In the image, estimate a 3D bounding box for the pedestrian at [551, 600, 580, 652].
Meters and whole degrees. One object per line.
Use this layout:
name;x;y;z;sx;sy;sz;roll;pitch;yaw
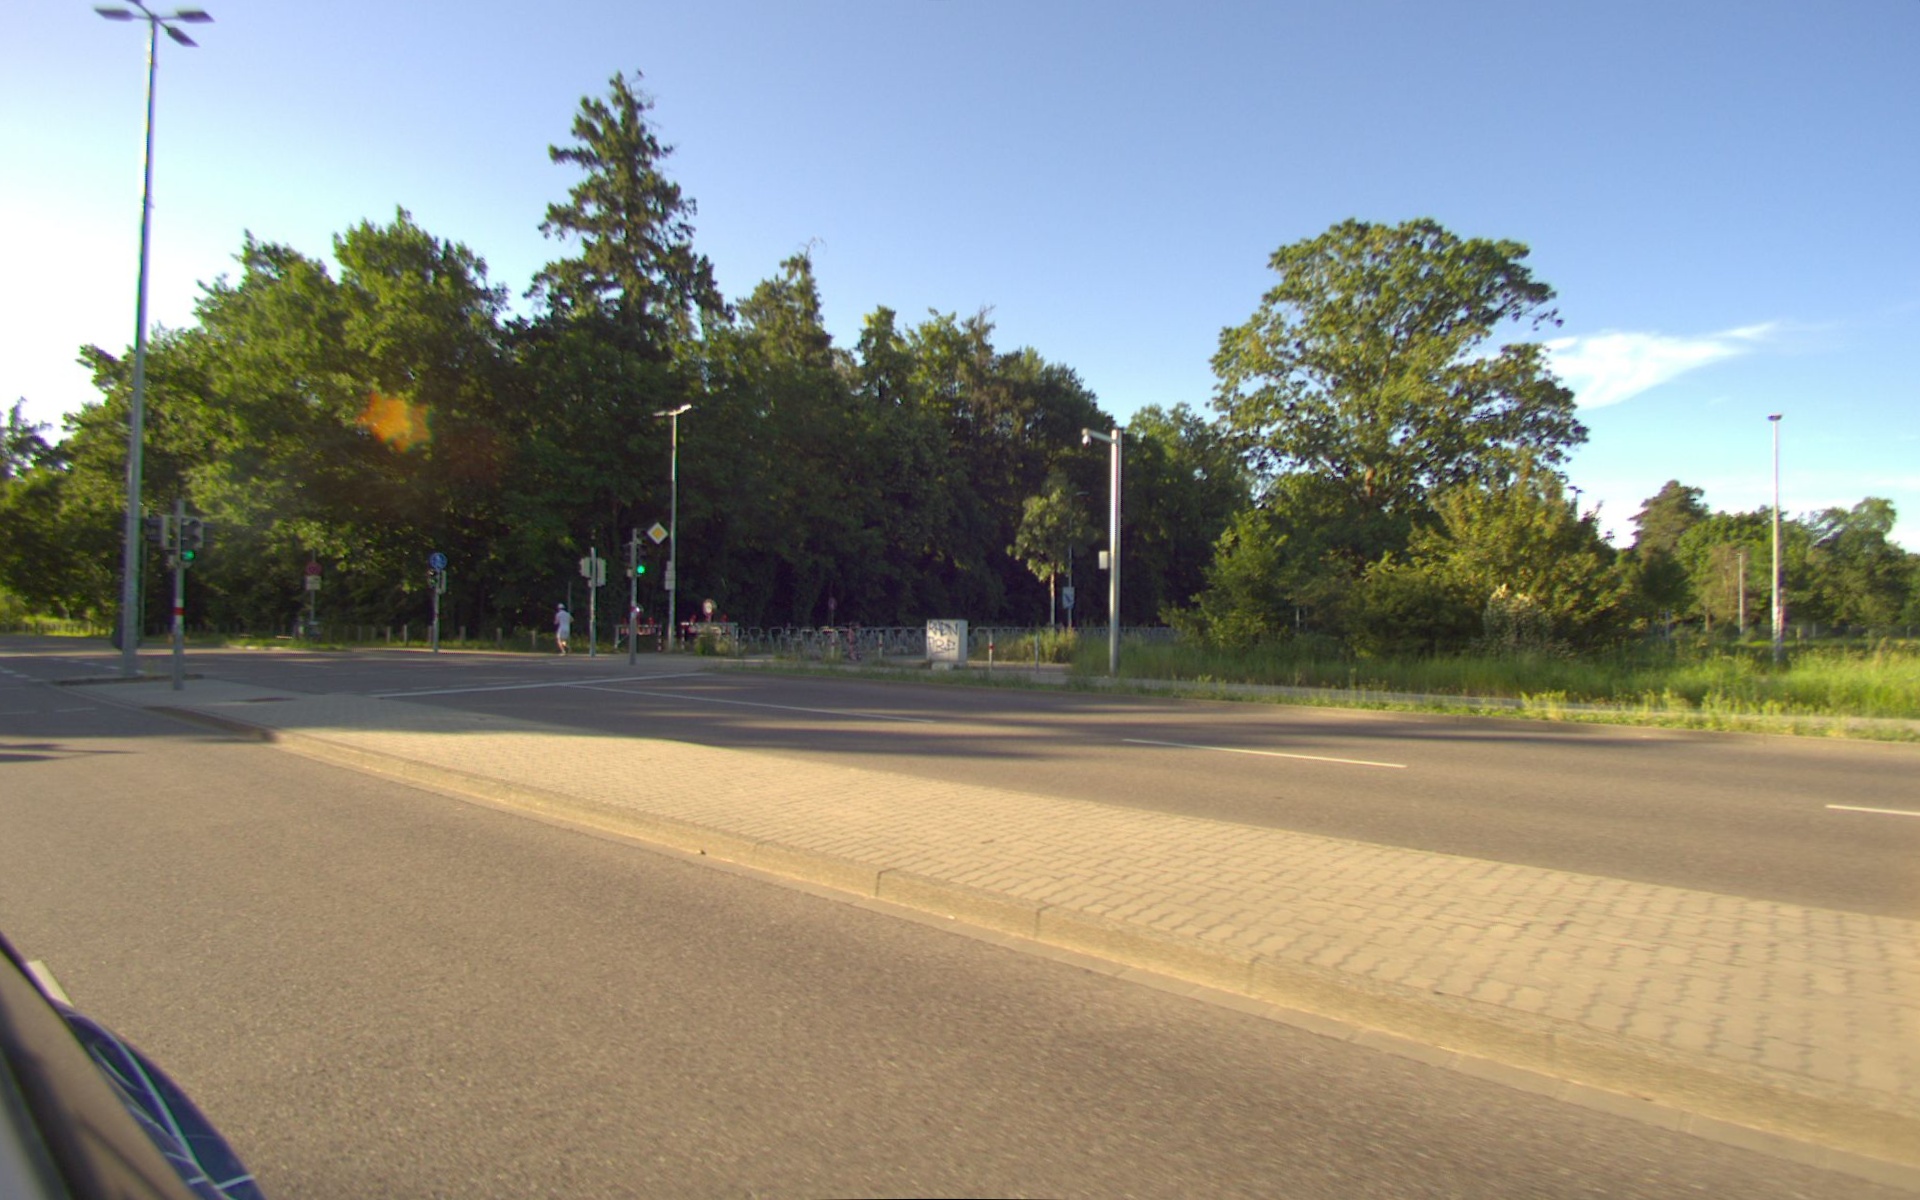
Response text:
pedestrian;-13.724;0.908;35.204;0.734;1.788;0.682;-1;-3;44
